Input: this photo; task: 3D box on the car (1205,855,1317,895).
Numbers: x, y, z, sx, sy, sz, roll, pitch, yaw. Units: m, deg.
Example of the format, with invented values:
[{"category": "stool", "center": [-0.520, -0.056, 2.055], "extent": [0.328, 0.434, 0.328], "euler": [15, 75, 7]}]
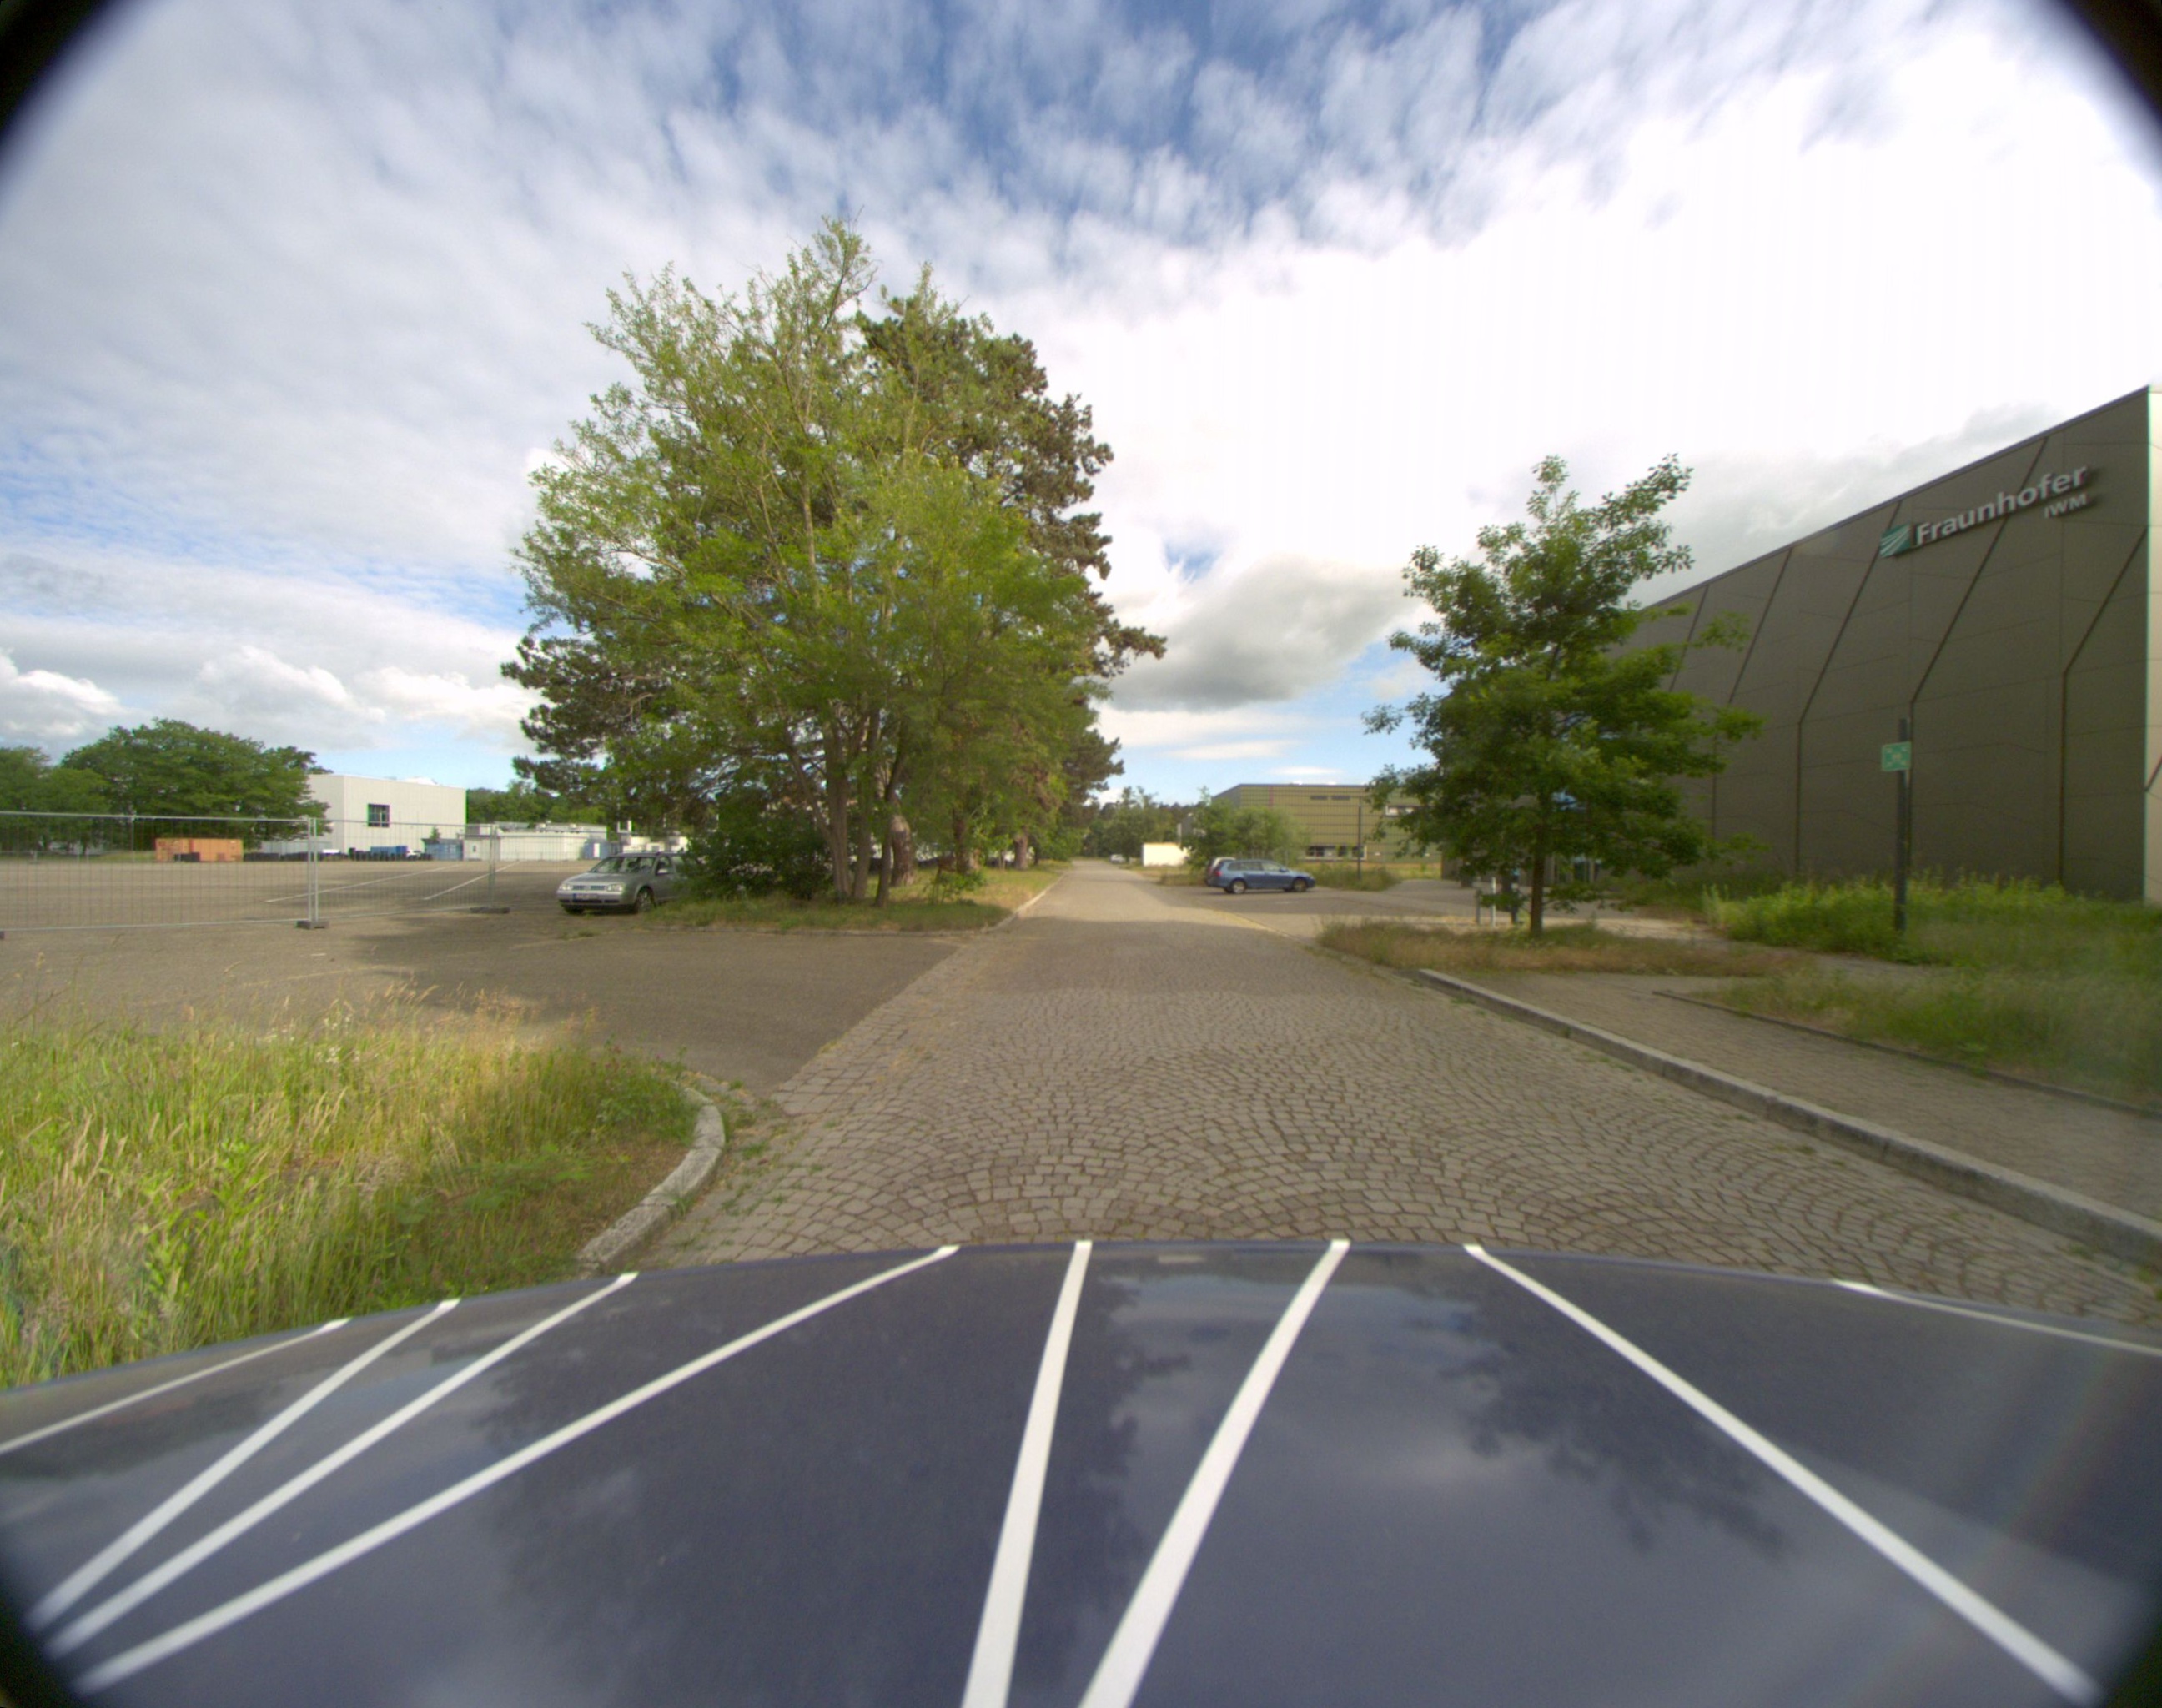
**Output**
[{"category": "car", "center": [7.784, 0.891, 33.017], "extent": [4.404, 1.501, 1.716], "euler": [-2, 1, -2]}]

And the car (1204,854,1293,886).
[{"category": "car", "center": [8.816, 0.826, 40.322], "extent": [4.401, 1.537, 1.842], "euler": [-2, 0, 7]}]

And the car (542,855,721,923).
[{"category": "car", "center": [-10.786, 0.755, 18.665], "extent": [1.759, 1.440, 4.327], "euler": [1, 0, 2]}]
